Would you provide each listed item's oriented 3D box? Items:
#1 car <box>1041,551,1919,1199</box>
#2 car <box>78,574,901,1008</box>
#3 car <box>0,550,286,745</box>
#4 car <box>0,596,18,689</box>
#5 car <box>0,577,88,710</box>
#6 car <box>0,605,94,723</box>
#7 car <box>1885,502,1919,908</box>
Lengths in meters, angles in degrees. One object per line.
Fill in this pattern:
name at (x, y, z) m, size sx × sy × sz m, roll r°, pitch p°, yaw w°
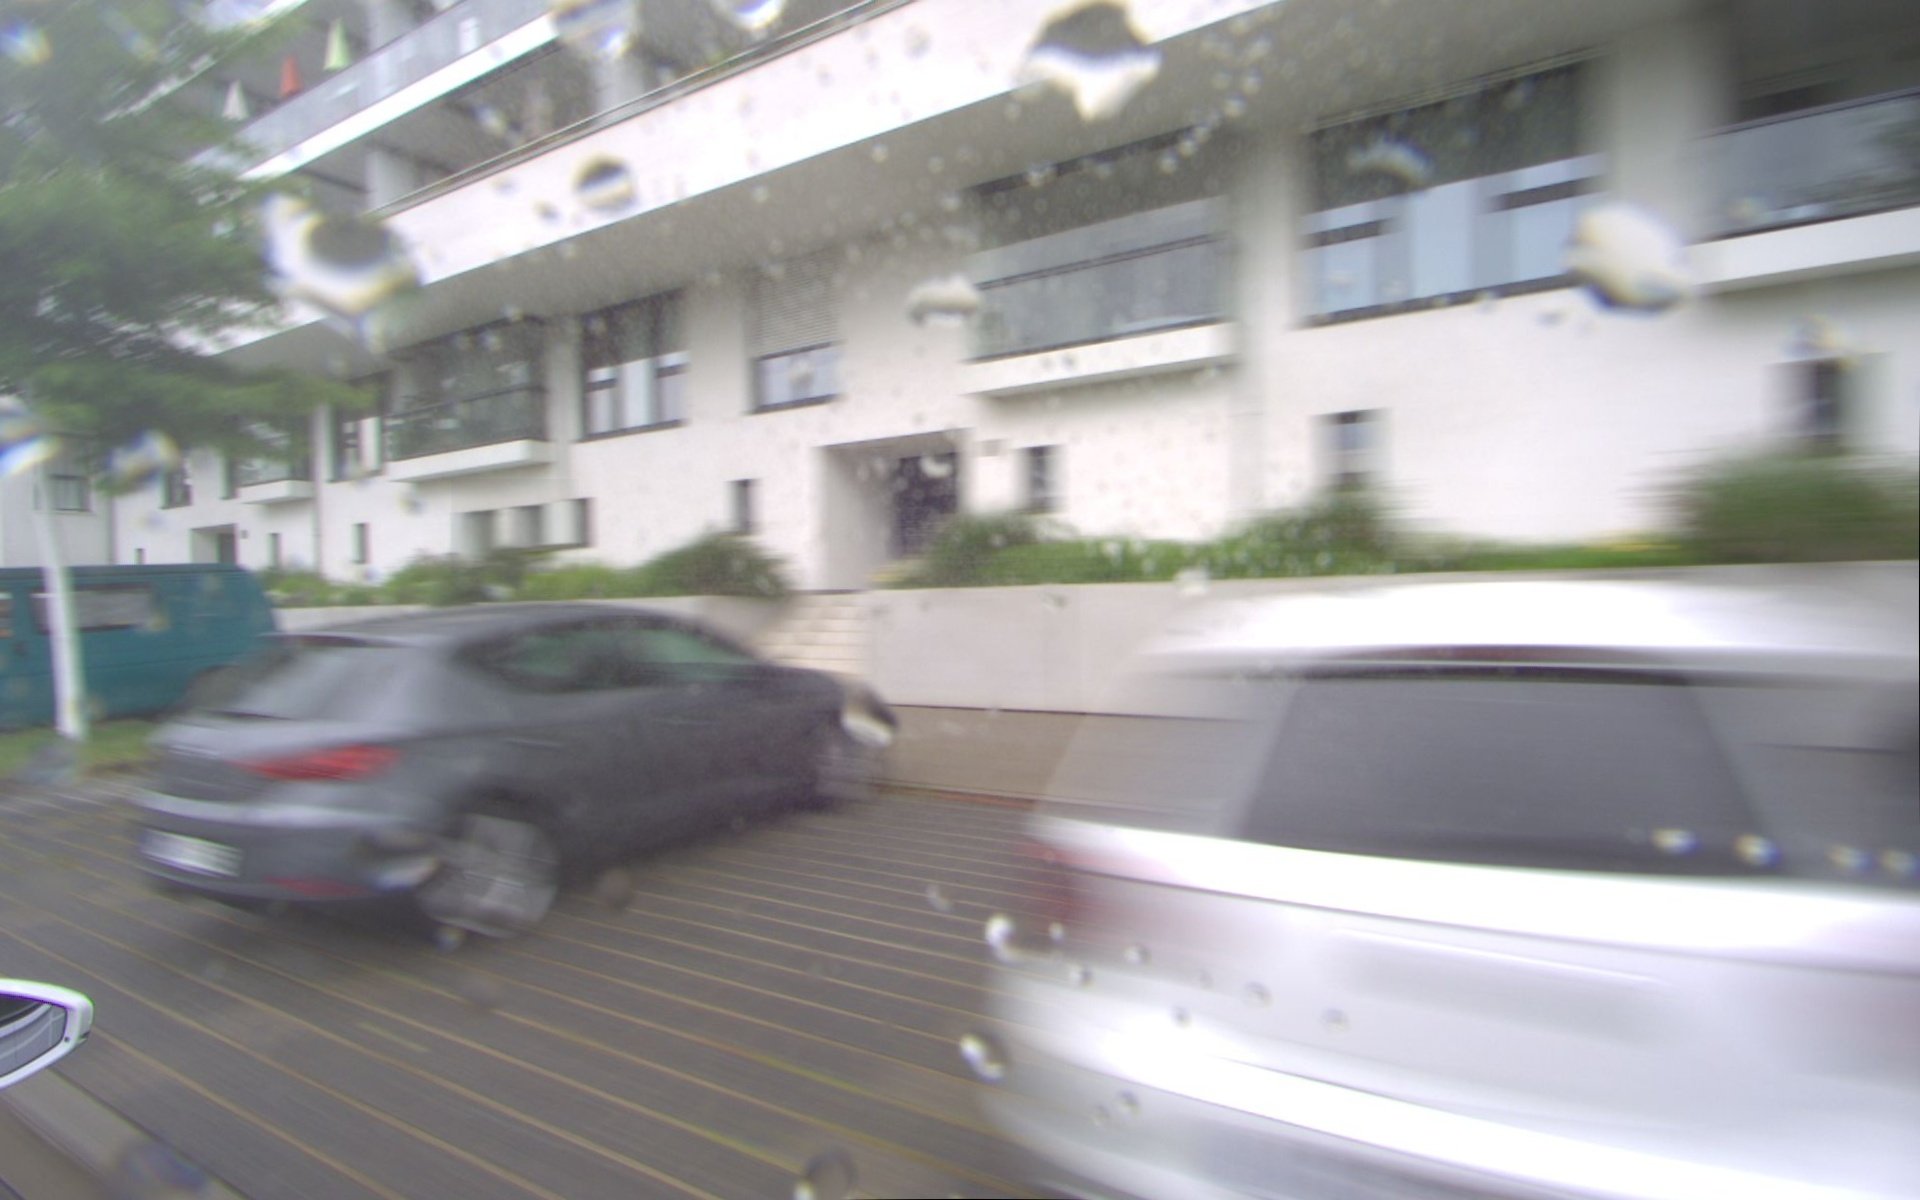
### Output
car at (1.952, 0.602, 3.651) m, size 1.612 × 1.447 × 4.291 m, roll -1°, pitch 1°, yaw 30°
car at (-2.099, 0.644, 5.683) m, size 1.607 × 1.519 × 4.024 m, roll -1°, pitch 1°, yaw 29°
car at (-10.661, 0.513, 11.418) m, size 1.829 × 2.046 × 4.614 m, roll -1°, pitch 0°, yaw 28°
car at (-19.001, 0.765, 17.096) m, size 1.834 × 1.703 × 3.881 m, roll 0°, pitch -1°, yaw 27°
car at (-15.095, 0.654, 13.959) m, size 1.702 × 1.920 × 4.083 m, roll 0°, pitch 1°, yaw 33°
car at (-13.117, 0.824, 12.498) m, size 1.298 × 1.502 × 3.249 m, roll 0°, pitch 0°, yaw 30°
car at (3.897, 0.458, 2.159) m, size 1.869 × 1.646 × 4.155 m, roll -1°, pitch 1°, yaw 29°
